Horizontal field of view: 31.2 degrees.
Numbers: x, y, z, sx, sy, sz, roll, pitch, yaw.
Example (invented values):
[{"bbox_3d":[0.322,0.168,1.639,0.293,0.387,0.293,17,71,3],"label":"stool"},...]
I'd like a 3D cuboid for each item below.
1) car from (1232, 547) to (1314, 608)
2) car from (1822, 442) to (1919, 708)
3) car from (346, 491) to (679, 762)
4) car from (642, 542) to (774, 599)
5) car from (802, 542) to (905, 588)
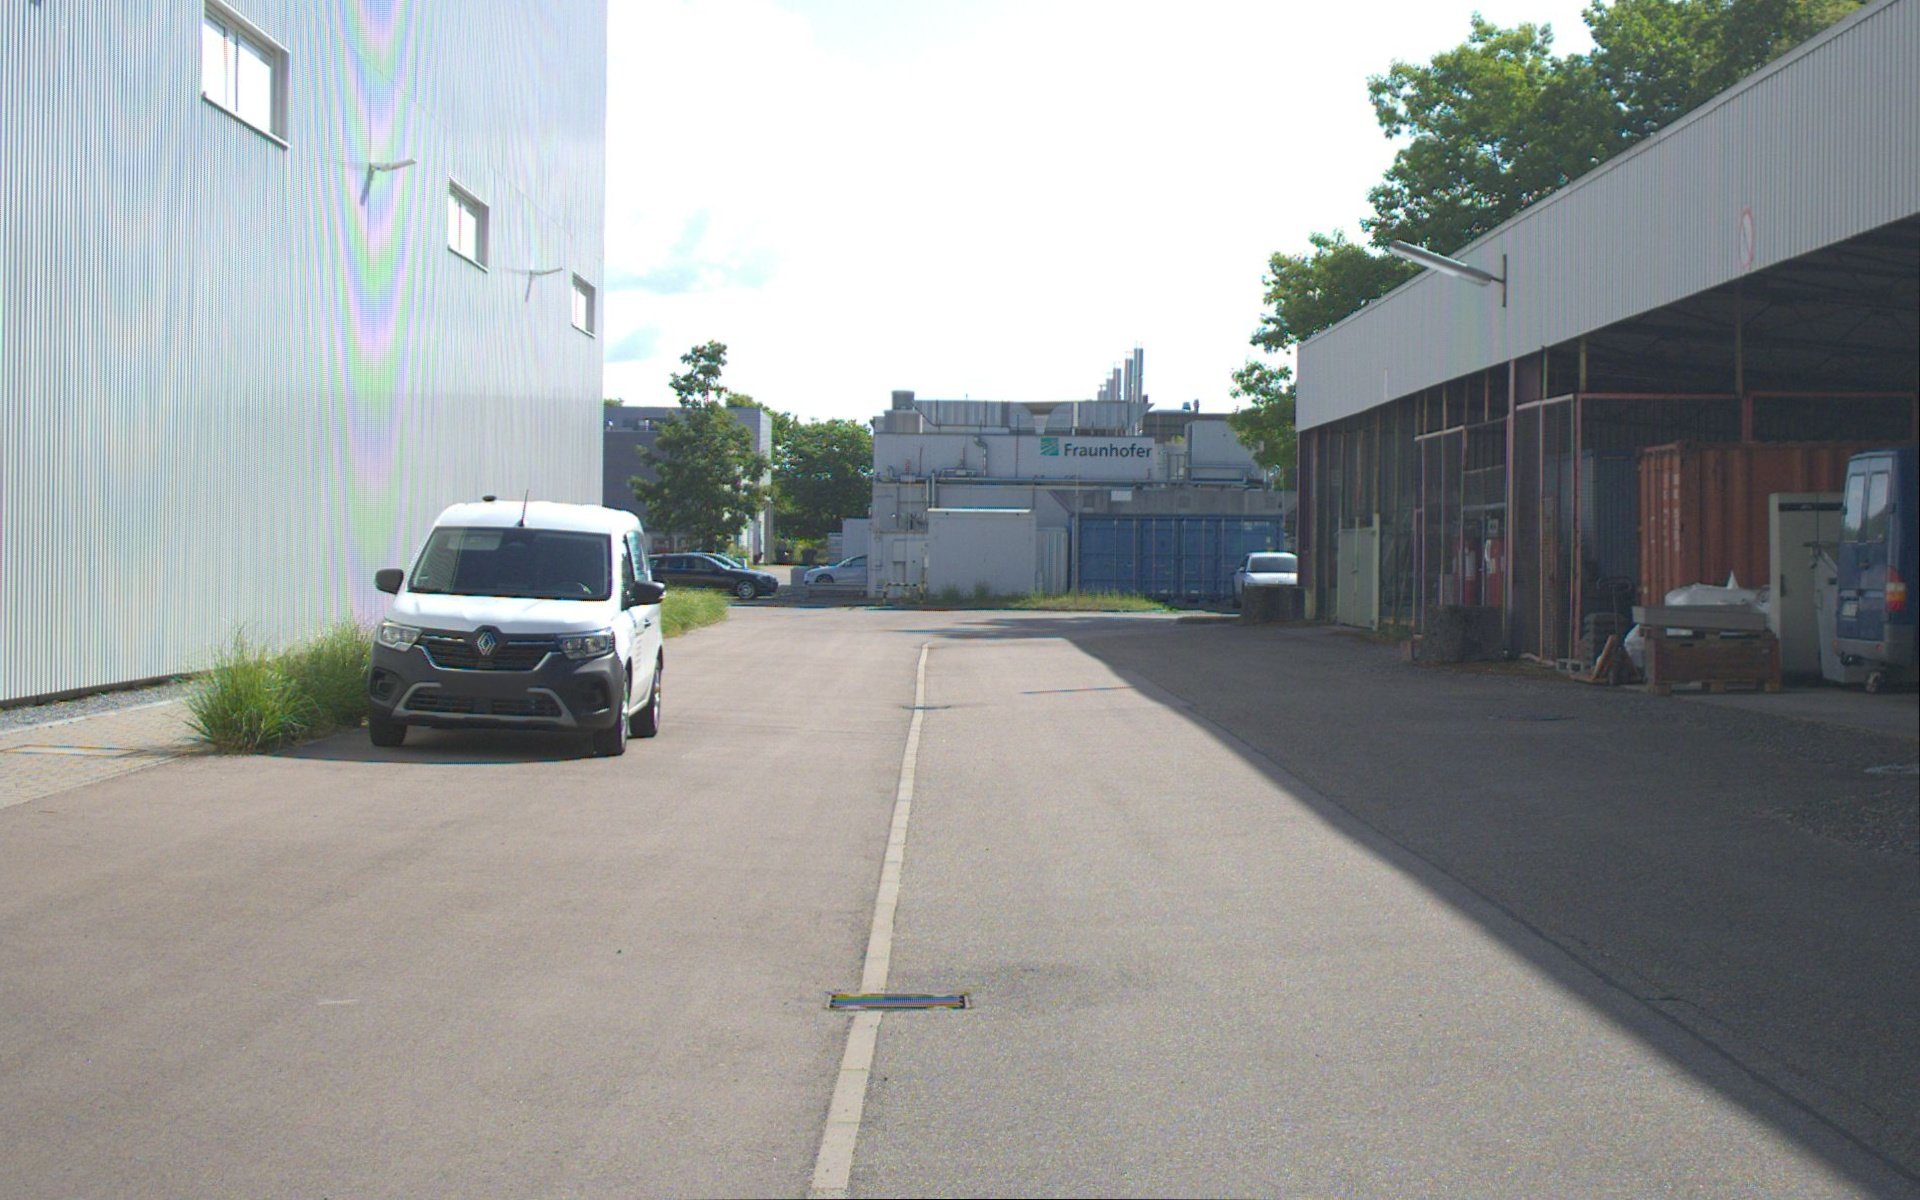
[{"bbox_3d":[8.662,-0.635,95.312,1.962,1.559,4.059,2,1,2],"label":"car"},{"bbox_3d":[10.214,-0.128,30.829,4.433,2.302,1.915,2,-1,1],"label":"car"},{"bbox_3d":[-3.223,0.134,25.560,1.818,1.781,4.405,2,1,0],"label":"car"},{"bbox_3d":[-7.895,-0.929,107.795,3.987,1.592,1.742,2,-1,-1],"label":"car"},{"bbox_3d":[-4.191,-1.373,135.659,3.987,1.592,1.848,2,-1,-1],"label":"car"}]
